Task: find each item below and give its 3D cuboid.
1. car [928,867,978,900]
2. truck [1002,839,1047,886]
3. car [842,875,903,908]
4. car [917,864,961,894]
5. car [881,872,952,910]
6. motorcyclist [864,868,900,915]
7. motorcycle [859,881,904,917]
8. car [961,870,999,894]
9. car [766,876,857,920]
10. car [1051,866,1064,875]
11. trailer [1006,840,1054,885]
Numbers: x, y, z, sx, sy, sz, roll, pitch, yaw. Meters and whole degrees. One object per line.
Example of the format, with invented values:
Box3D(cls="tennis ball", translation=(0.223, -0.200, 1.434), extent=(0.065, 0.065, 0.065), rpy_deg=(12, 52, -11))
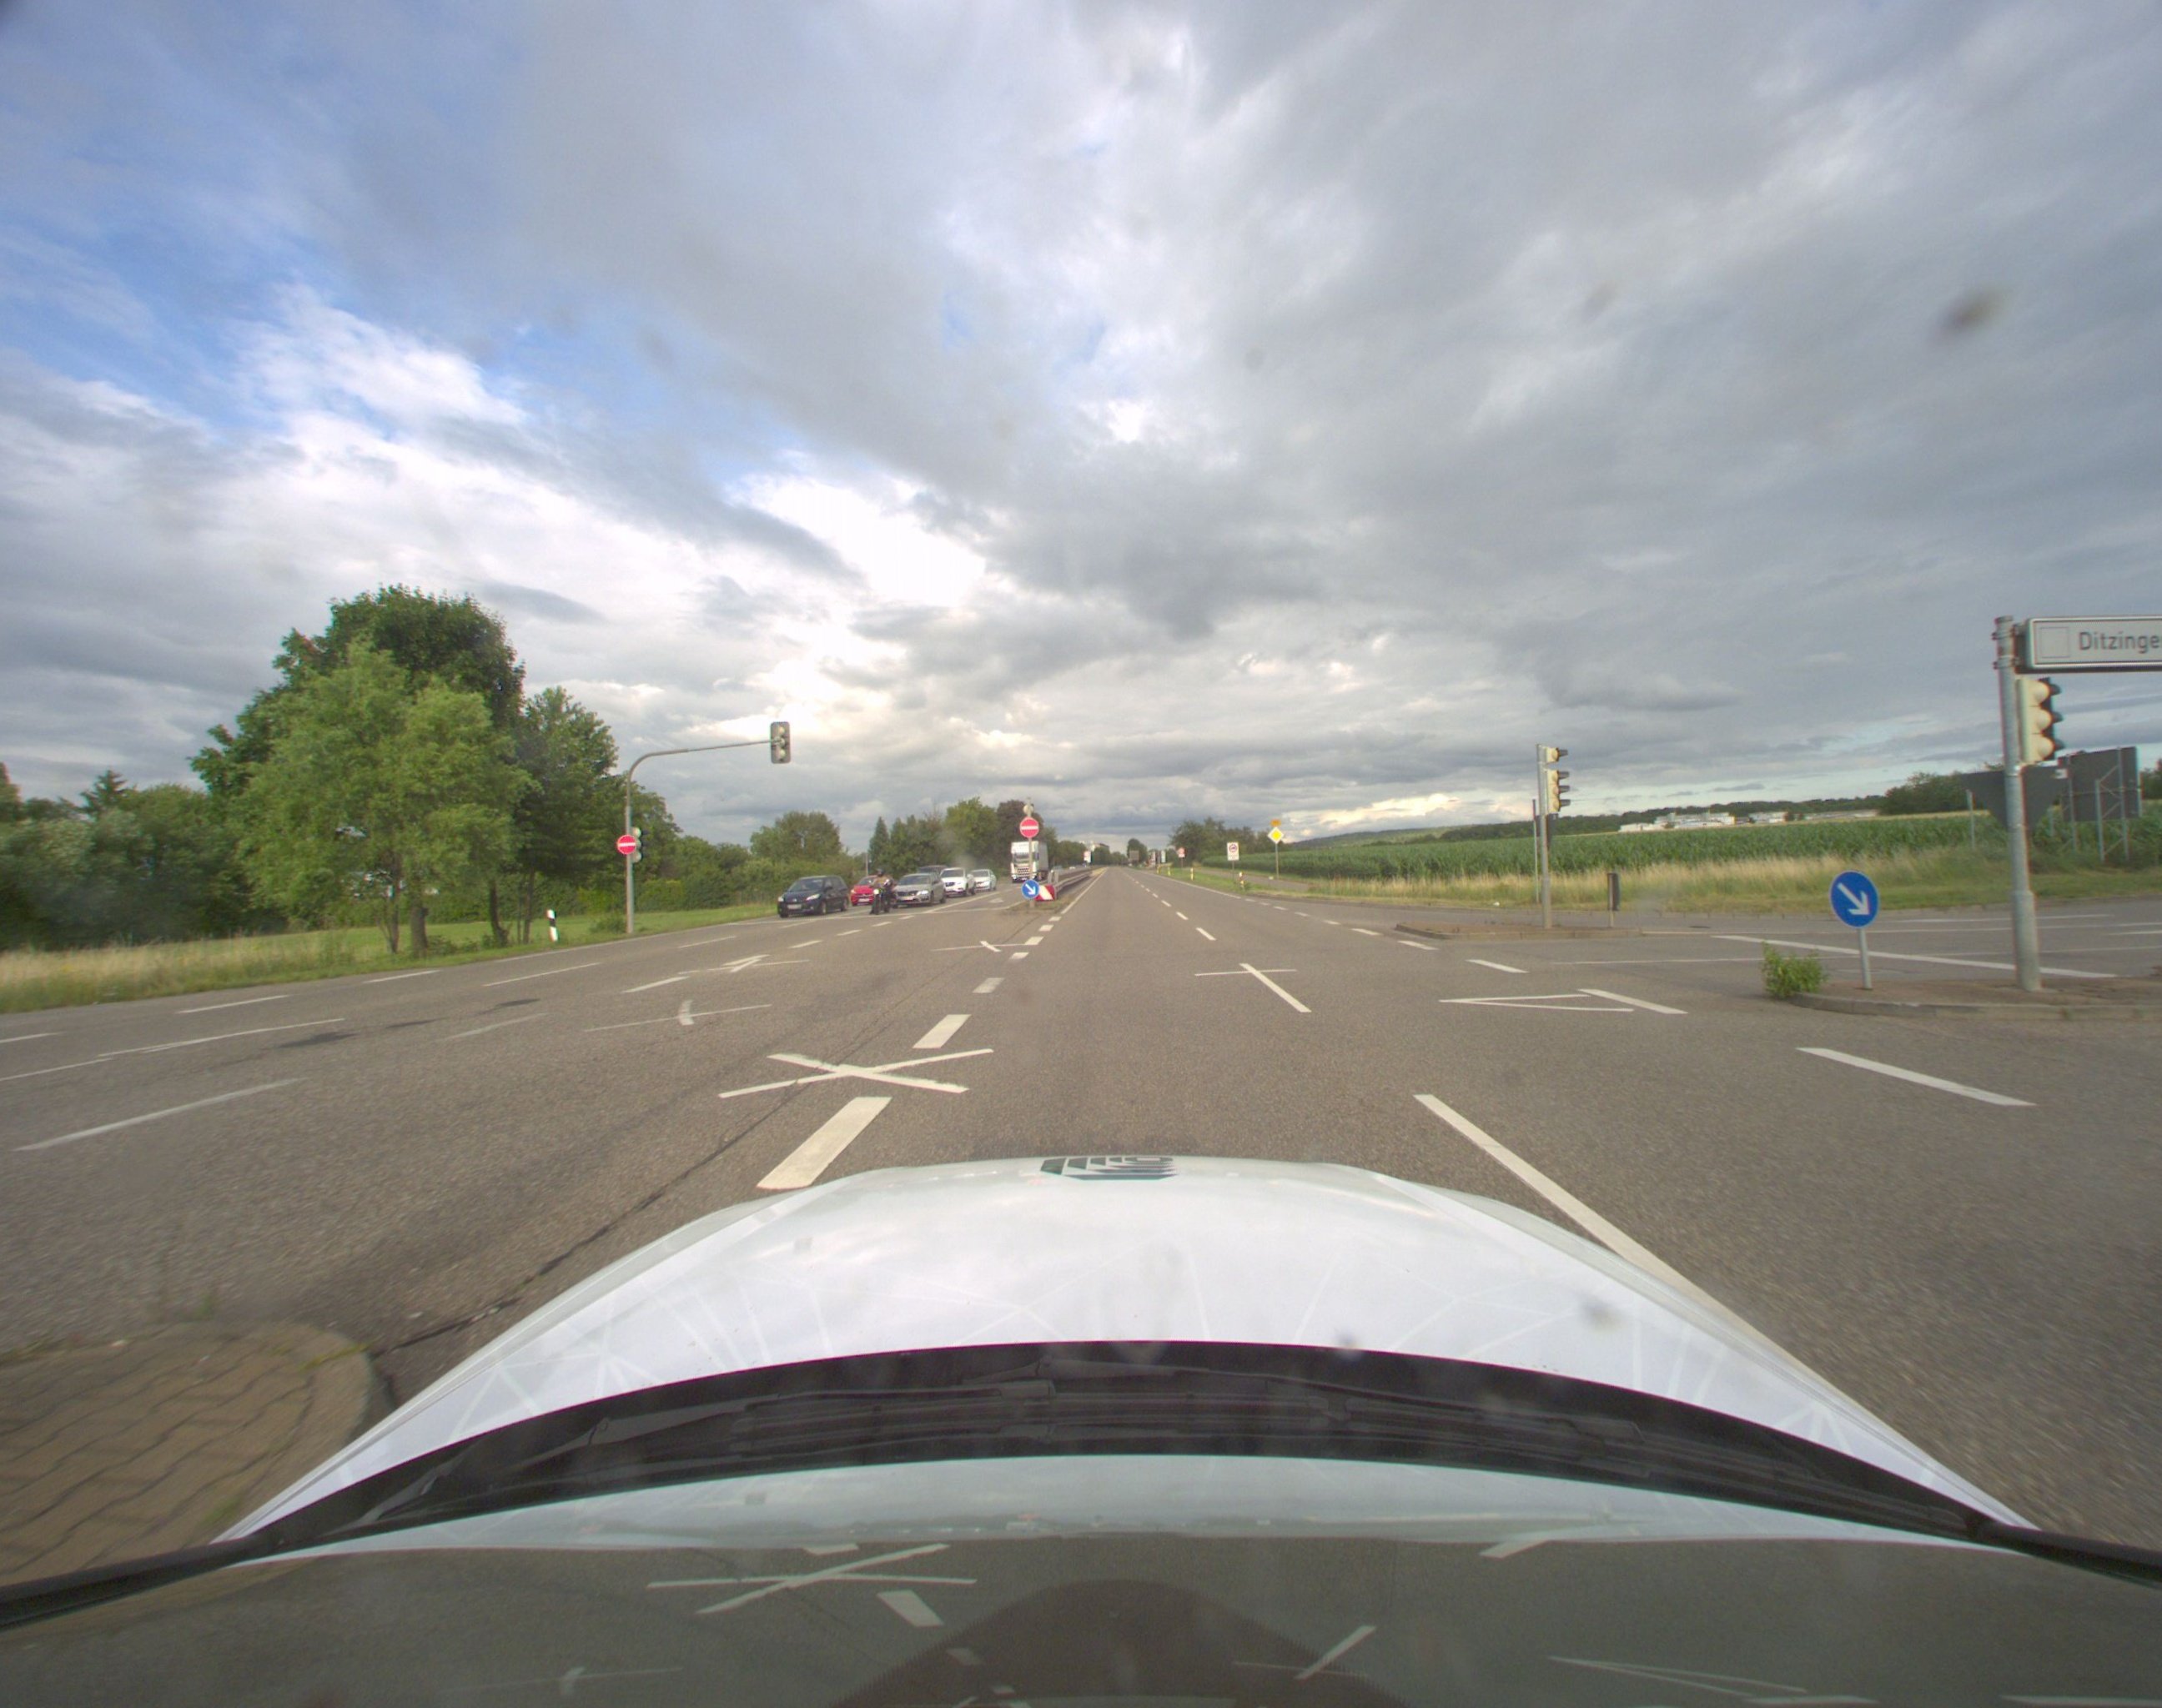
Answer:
Box3D(cls="car", translation=(-7.031, 1.599, 45.201), extent=(1.900, 1.610, 4.406), rpy_deg=(-3, -1, 2))
Box3D(cls="truck", translation=(-5.431, 0.833, 79.434), extent=(3.461, 4.150, 6.052), rpy_deg=(-4, -1, 2))
Box3D(cls="car", translation=(-10.670, 1.883, 42.034), extent=(1.900, 1.465, 4.186), rpy_deg=(-3, -1, 2))
Box3D(cls="car", translation=(-10.203, 1.775, 58.925), extent=(1.985, 2.014, 4.950), rpy_deg=(-3, -1, 3))
Box3D(cls="car", translation=(-7.193, 1.596, 36.239), extent=(1.900, 1.428, 5.154), rpy_deg=(-3, -1, 2))
Box3D(cls="motorcyclist", translation=(-7.485, 1.402, 30.691), extent=(0.913, 1.709, 1.276), rpy_deg=(-3, -1, 2))
Box3D(cls="motorcycle", translation=(-7.481, 1.668, 30.687), extent=(0.913, 1.203, 2.480), rpy_deg=(-3, -1, 2))
Box3D(cls="car", translation=(-6.597, 1.805, 53.695), extent=(1.782, 1.444, 4.162), rpy_deg=(-3, -1, 2))
Box3D(cls="car", translation=(-10.980, 1.748, 33.625), extent=(1.900, 1.535, 4.940), rpy_deg=(-3, -1, 2))
Box3D(cls="car", translation=(-3.891, 2.711, 135.267), extent=(1.782, 1.386, 4.162), rpy_deg=(-3, -1, 2))
Box3D(cls="trailer", translation=(-5.185, 0.960, 85.841), extent=(3.452, 4.150, 13.922), rpy_deg=(-4, -1, 2))
